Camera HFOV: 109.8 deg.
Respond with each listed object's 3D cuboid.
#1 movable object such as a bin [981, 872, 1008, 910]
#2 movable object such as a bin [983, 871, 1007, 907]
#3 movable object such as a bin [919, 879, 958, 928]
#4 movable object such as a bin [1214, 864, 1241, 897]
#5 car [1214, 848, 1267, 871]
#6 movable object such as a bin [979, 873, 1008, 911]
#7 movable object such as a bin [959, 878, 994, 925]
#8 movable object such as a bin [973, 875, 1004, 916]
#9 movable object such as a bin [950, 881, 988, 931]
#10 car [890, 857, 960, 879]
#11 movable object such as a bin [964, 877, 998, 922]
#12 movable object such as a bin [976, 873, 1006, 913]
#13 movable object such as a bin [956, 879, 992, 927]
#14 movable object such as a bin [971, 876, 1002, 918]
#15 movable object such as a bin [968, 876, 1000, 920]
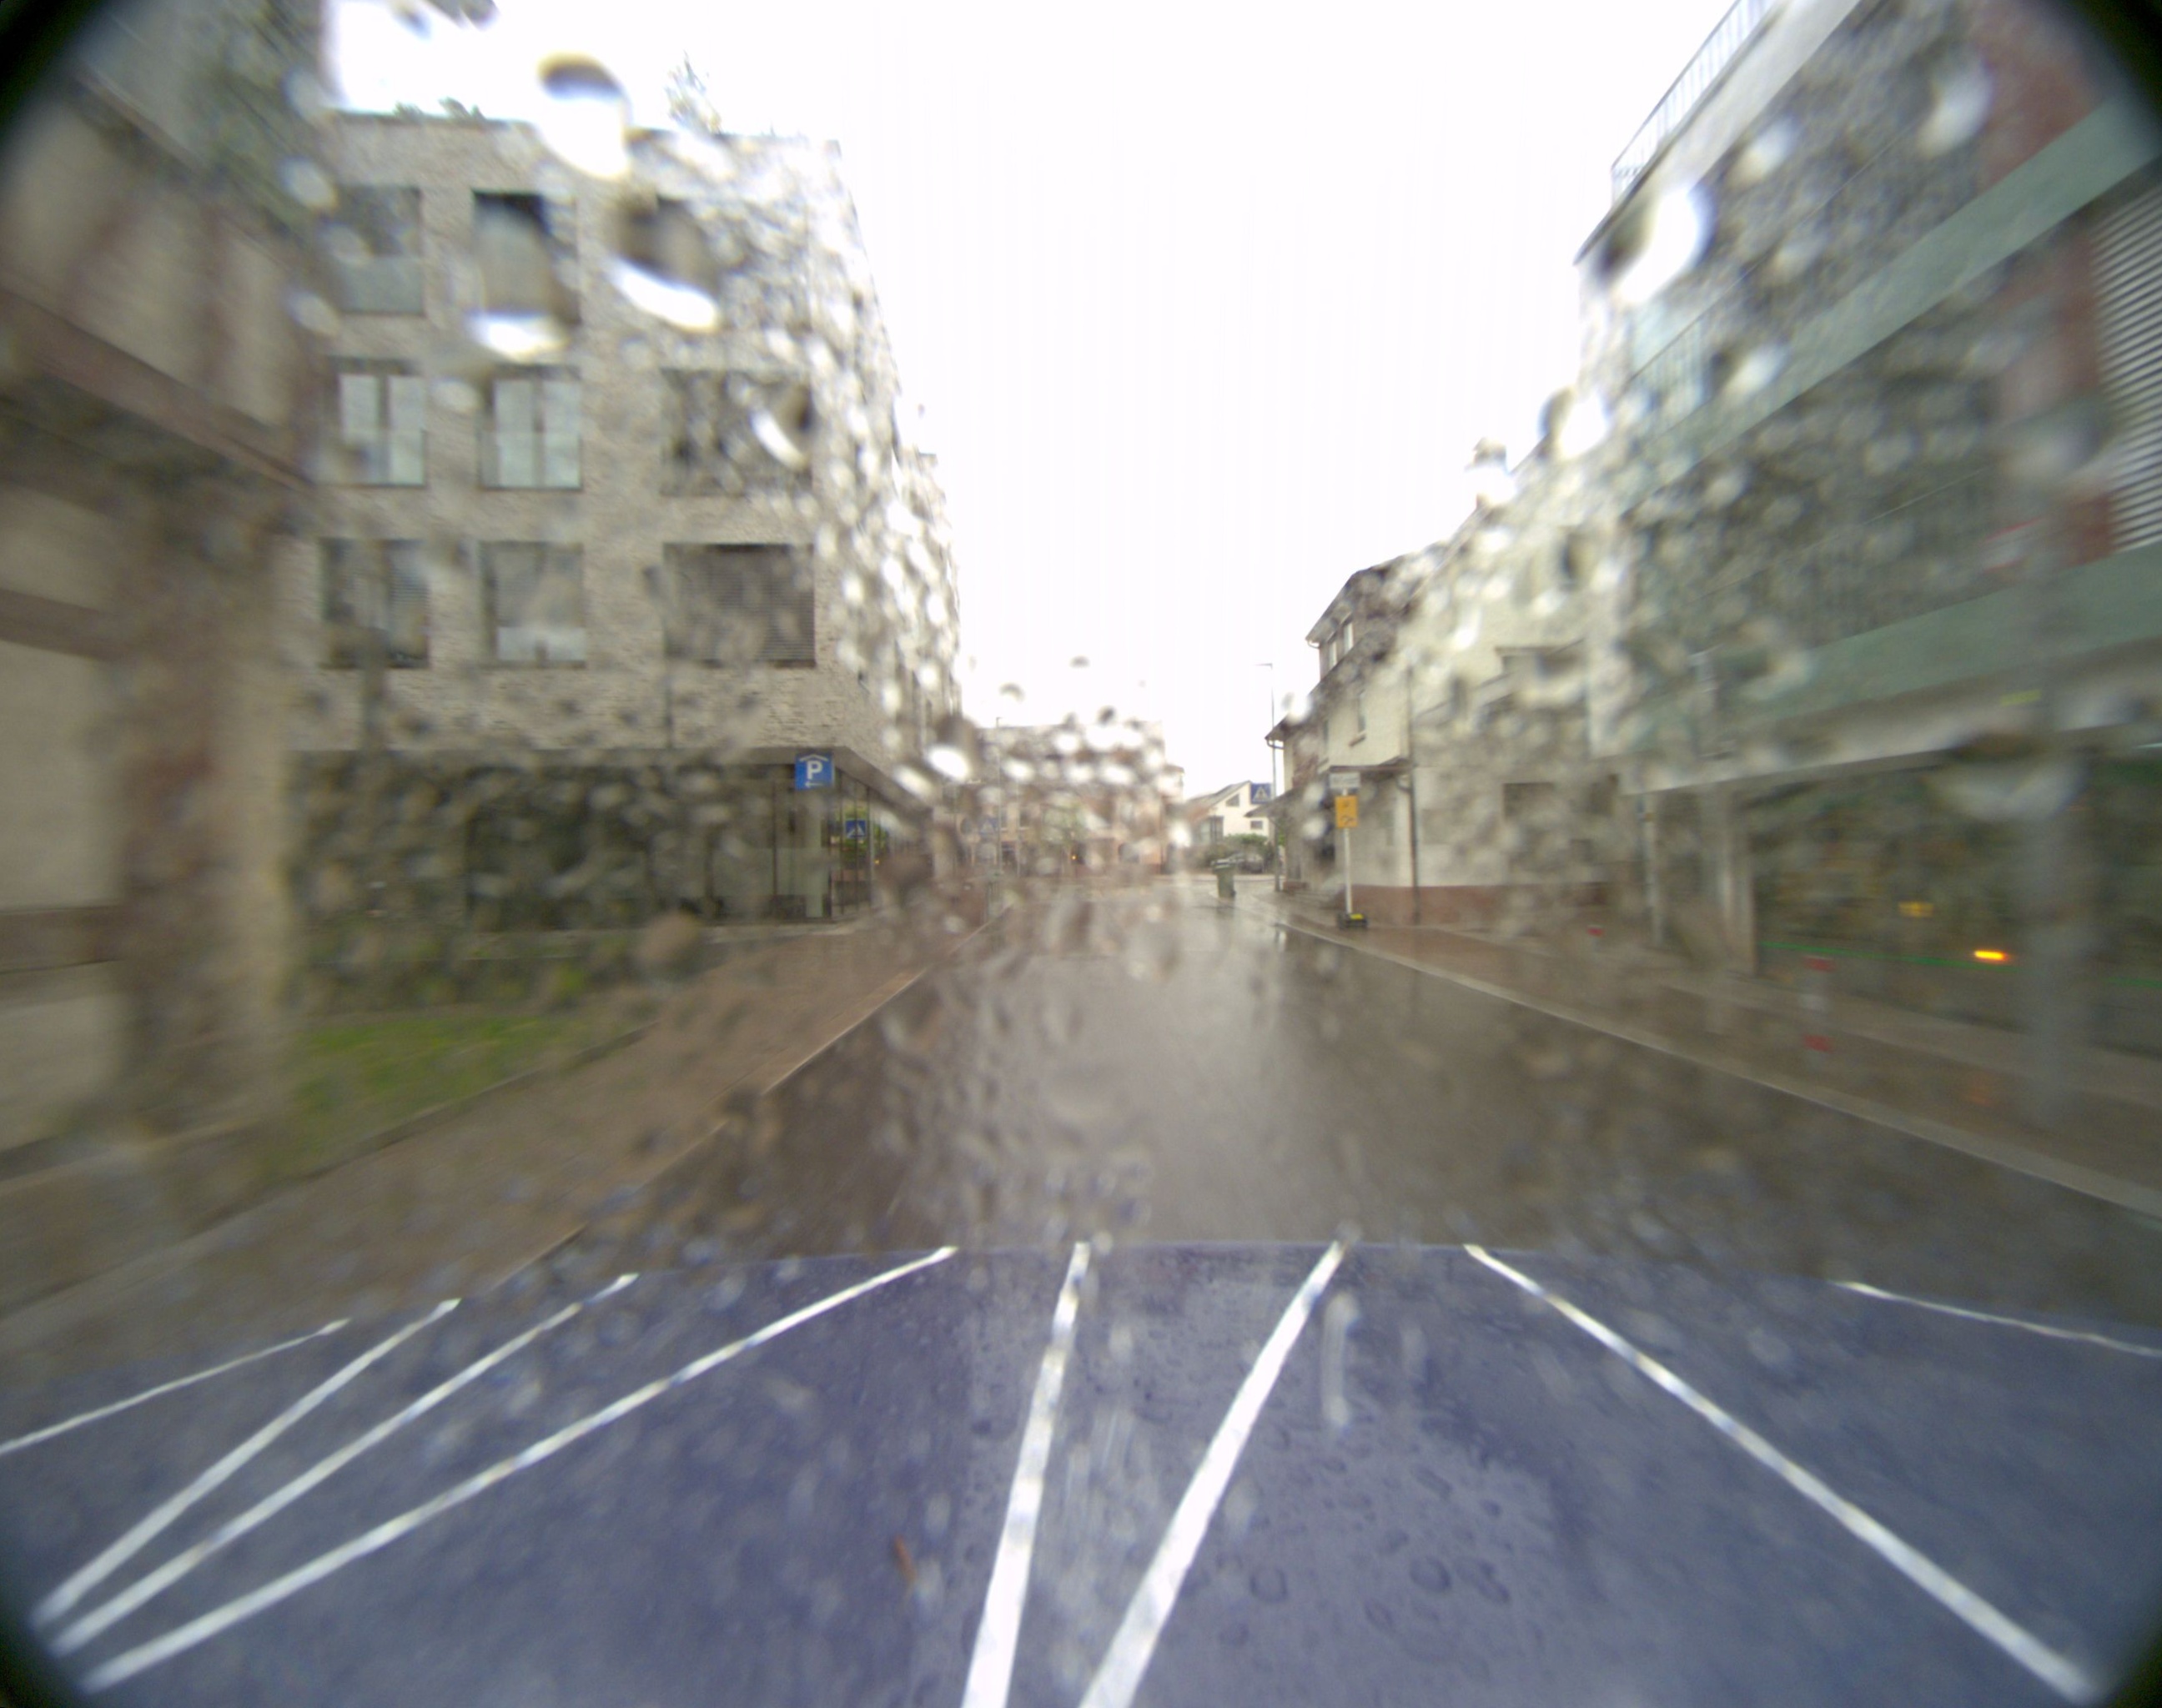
[{"bbox_3d":[-2.565,1.104,22.672,0.742,1.089,0.657,0,1,-1],"label":"movable object such as a bin"},{"bbox_3d":[-2.634,1.069,23.307,0.665,1.089,0.551,0,1,-2],"label":"movable object such as a bin"},{"bbox_3d":[-3.294,1.144,17.600,0.768,1.089,0.627,0,1,-1],"label":"movable object such as a bin"},{"bbox_3d":[5.057,0.912,26.253,0.689,1.075,0.760,-4,1,-2],"label":"movable object such as a bin"},{"bbox_3d":[14.383,0.510,68.380,4.479,2.002,2.003,0,0,16],"label":"car"},{"bbox_3d":[-2.542,1.103,22.087,0.768,1.089,0.581,0,1,-1],"label":"movable object such as a bin"},{"bbox_3d":[-2.523,1.146,18.474,0.768,1.089,0.581,0,1,-1],"label":"movable object such as a bin"},{"bbox_3d":[-2.532,1.125,20.897,0.768,1.089,0.581,0,1,-1],"label":"movable object such as a bin"},{"bbox_3d":[-2.506,1.167,17.120,0.768,1.089,0.581,0,1,-1],"label":"movable object such as a bin"},{"bbox_3d":[-10.924,1.000,53.272,4.461,1.422,1.672,-1,-1,10],"label":"car"},{"bbox_3d":[-2.502,1.134,19.094,0.768,1.089,0.581,0,1,-1],"label":"movable object such as a bin"},{"bbox_3d":[-2.544,1.100,21.483,0.768,1.089,0.581,0,1,-1],"label":"movable object such as a bin"},{"bbox_3d":[-2.516,1.153,17.881,0.768,1.089,0.581,0,1,-1],"label":"movable object such as a bin"},{"bbox_3d":[-2.512,1.133,20.297,0.768,1.089,0.581,0,1,-1],"label":"movable object such as a bin"},{"bbox_3d":[-2.512,1.129,19.687,0.768,1.089,0.581,0,1,-1],"label":"movable object such as a bin"}]
